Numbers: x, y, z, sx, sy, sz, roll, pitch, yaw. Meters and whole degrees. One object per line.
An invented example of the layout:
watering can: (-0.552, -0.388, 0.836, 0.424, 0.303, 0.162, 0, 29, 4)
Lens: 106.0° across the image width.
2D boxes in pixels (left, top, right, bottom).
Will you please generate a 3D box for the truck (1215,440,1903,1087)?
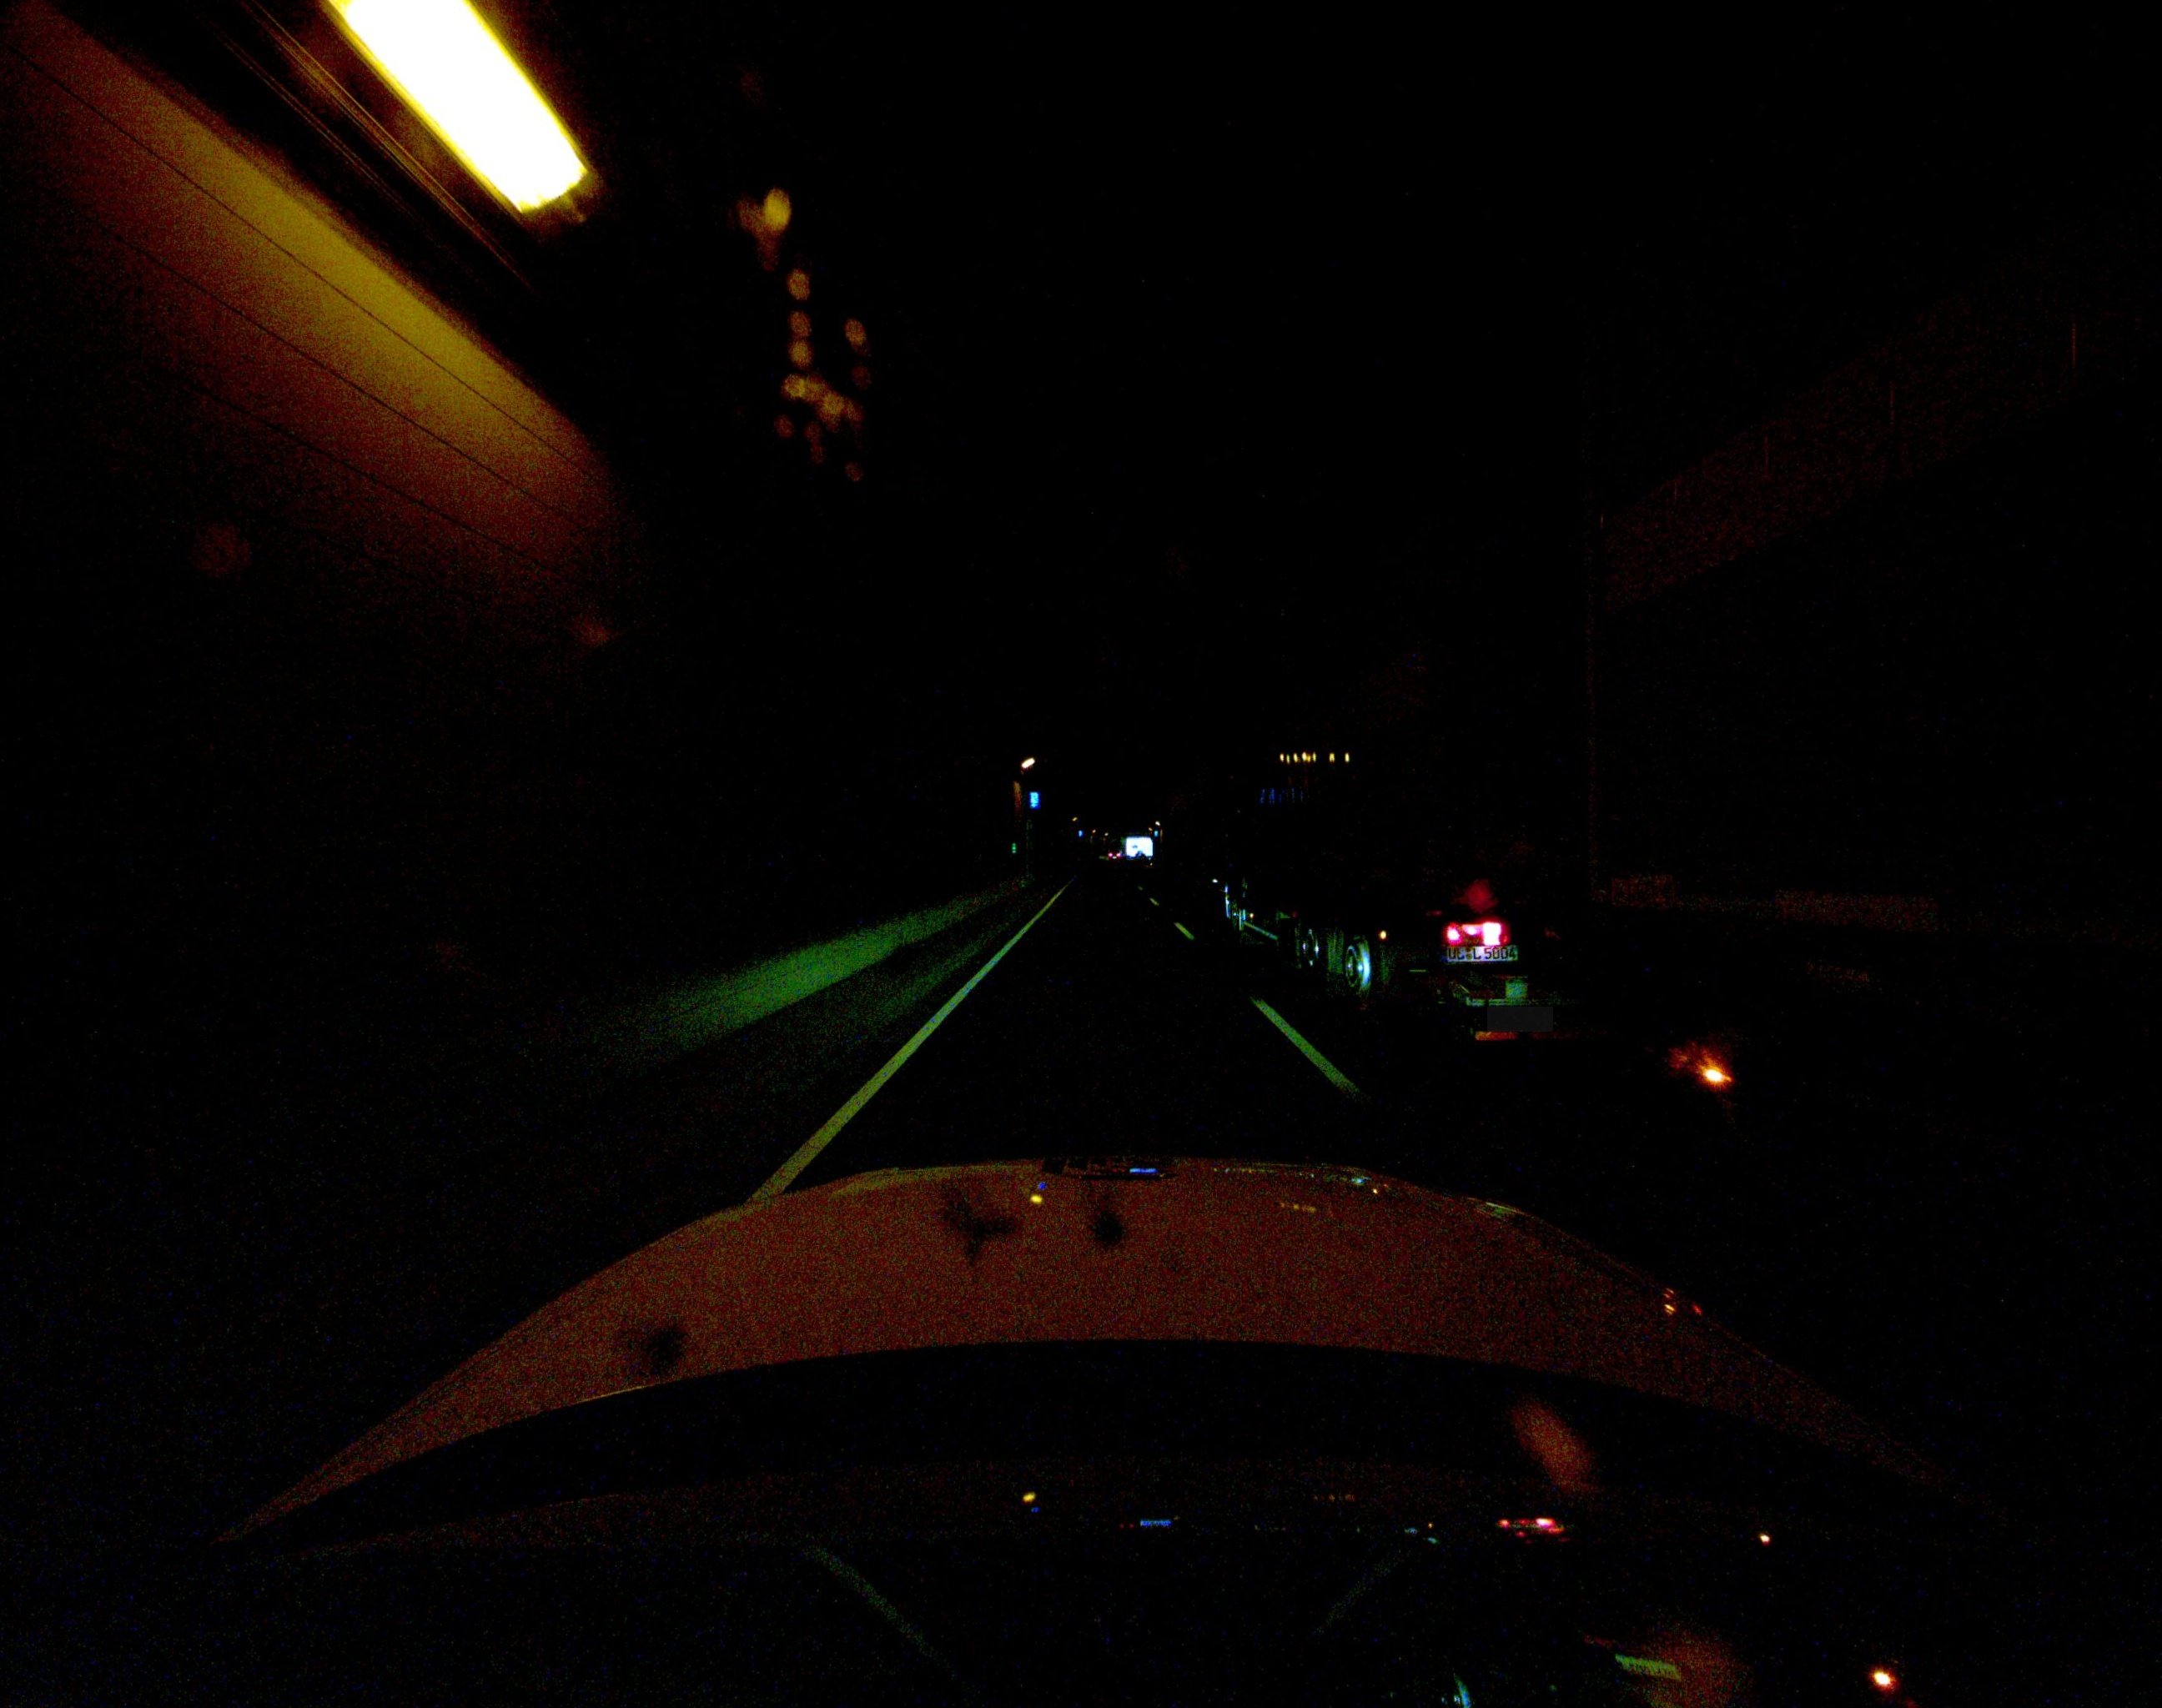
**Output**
truck: (3.709, -0.553, 9.914, 2.877, 3.913, 9.914, 0, 0, 2)

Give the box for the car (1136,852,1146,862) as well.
car: (10.648, 0.509, 144.283, 1.861, 1.732, 4.005, 0, 0, 4)

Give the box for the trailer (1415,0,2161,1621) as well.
trailer: (3.376, -0.530, 0.491, 2.865, 3.858, 8.950, 0, 0, 1)

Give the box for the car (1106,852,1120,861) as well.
car: (4.939, 0.371, 125.151, 1.832, 1.388, 4.007, 0, 0, 6)
